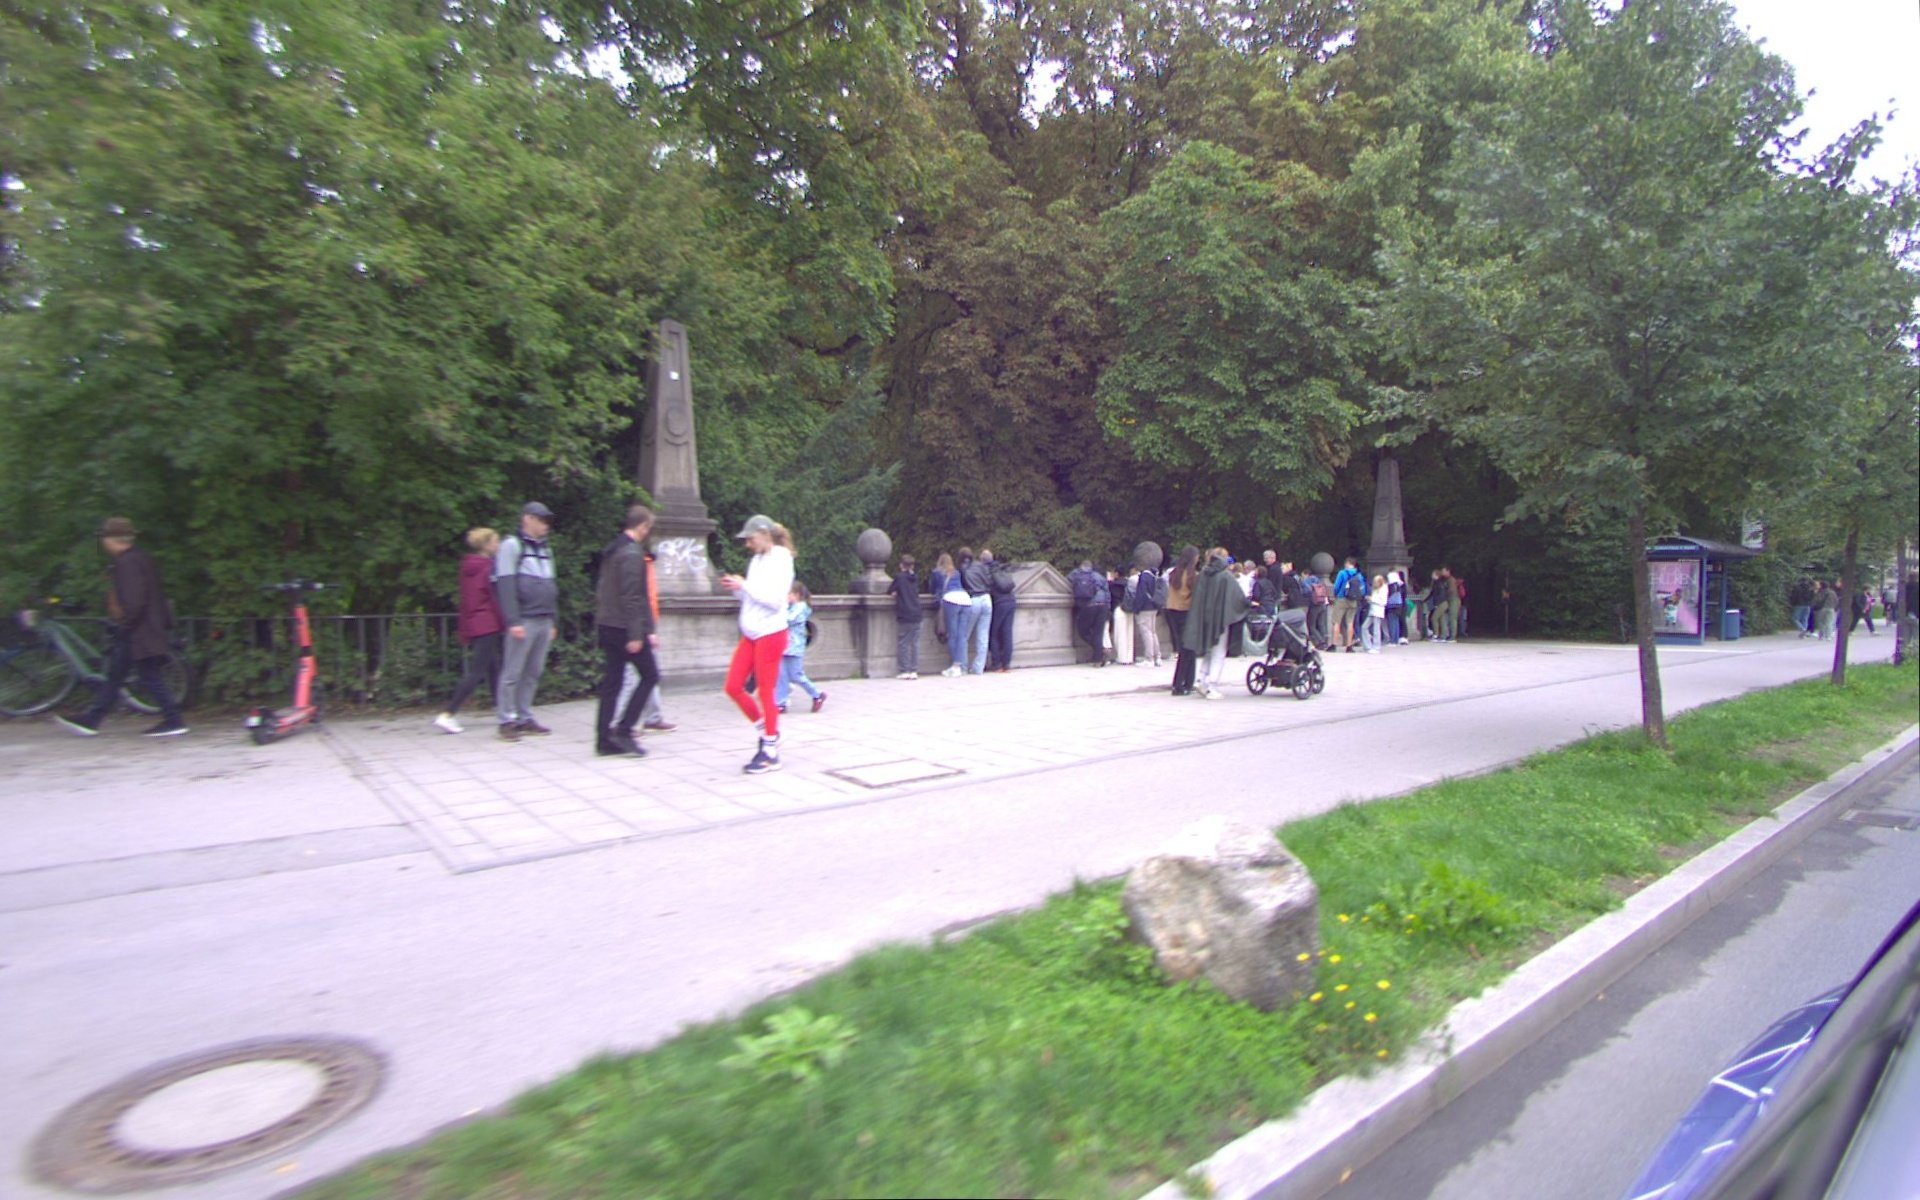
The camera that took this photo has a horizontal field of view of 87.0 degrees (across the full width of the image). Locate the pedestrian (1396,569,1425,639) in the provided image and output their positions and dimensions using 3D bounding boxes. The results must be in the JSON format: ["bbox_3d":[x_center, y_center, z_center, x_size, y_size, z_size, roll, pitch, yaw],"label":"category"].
[{"bbox_3d":[9.849,0.084,22.107,0.434,1.526,0.421,0,0,-38],"label":"pedestrian"}]

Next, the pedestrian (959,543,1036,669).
[{"bbox_3d":[0.528,0.066,14.303,0.715,1.712,0.814,0,1,-38],"label":"pedestrian"}]

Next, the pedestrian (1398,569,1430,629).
[{"bbox_3d":[13.878,-0.024,30.943,0.522,1.790,0.639,4,-1,-9],"label":"pedestrian"}]

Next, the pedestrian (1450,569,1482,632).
[{"bbox_3d":[14.602,0.016,29.214,0.522,1.790,0.639,0,0,-9],"label":"pedestrian"}]

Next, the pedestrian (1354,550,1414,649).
[{"bbox_3d":[8.173,-0.016,19.519,0.715,1.852,0.814,0,0,-38],"label":"pedestrian"}]

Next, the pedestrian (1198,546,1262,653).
[{"bbox_3d":[4.748,-0.016,17.800,0.715,1.813,0.814,0,0,-38],"label":"pedestrian"}]

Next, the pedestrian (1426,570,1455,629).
[{"bbox_3d":[14.775,-0.028,31.112,0.522,1.790,0.639,0,0,-9],"label":"pedestrian"}]

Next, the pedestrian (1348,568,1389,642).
[{"bbox_3d":[8.590,0.095,21.280,0.523,1.526,0.638,0,0,-38],"label":"pedestrian"}]

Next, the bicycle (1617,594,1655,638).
[{"bbox_3d":[16.882,0.385,25.270,1.549,1.073,0.393,0,0,-41],"label":"bicycle"}]

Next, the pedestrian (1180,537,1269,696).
[{"bbox_3d":[2.969,0.176,11.376,0.636,1.712,0.728,0,0,-35],"label":"pedestrian"}]

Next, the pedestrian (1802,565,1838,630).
[{"bbox_3d":[26.092,-0.080,30.704,0.939,1.939,0.709,0,0,-41],"label":"pedestrian"}]

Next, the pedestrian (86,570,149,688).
[{"bbox_3d":[-10.832,0.363,13.022,0.507,1.492,0.409,0,0,-18],"label":"pedestrian"}]

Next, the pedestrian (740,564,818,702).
[{"bbox_3d":[-1.827,0.318,10.203,0.636,1.343,0.459,0,0,-35],"label":"pedestrian"}]

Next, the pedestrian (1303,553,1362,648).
[{"bbox_3d":[7.211,0.009,19.594,0.715,1.790,0.814,0,0,-38],"label":"pedestrian"}]

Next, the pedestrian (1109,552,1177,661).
[{"bbox_3d":[2.962,0.092,16.424,0.715,1.712,0.814,0,0,-38],"label":"pedestrian"}]

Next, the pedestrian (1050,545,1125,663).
[{"bbox_3d":[1.926,0.037,15.321,0.715,1.711,0.814,0,2,-38],"label":"pedestrian"}]

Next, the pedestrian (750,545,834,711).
[{"bbox_3d":[-1.637,0.258,9.867,0.636,1.547,0.551,0,0,-35],"label":"pedestrian"}]

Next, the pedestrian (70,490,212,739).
[{"bbox_3d":[-6.548,0.106,8.108,0.683,1.896,0.608,0,0,15],"label":"pedestrian"}]

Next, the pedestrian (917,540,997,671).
[{"bbox_3d":[-0.050,0.054,13.782,0.715,1.711,0.814,0,2,-38],"label":"pedestrian"}]

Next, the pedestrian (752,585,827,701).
[{"bbox_3d":[-1.770,0.426,10.523,0.636,1.167,0.459,0,0,-35],"label":"pedestrian"}]

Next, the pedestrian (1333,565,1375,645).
[{"bbox_3d":[8.175,0.099,21.004,0.523,1.637,0.638,0,0,-38],"label":"pedestrian"}]

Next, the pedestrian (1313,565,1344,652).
[{"bbox_3d":[7.414,0.175,20.378,0.434,1.725,0.421,0,0,-39],"label":"pedestrian"}]

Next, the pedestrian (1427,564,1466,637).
[{"bbox_3d":[11.227,0.009,23.363,0.523,1.647,0.638,0,0,-38],"label":"pedestrian"}]

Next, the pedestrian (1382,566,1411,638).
[{"bbox_3d":[9.450,0.037,21.893,0.434,1.526,0.421,0,0,-38],"label":"pedestrian"}]

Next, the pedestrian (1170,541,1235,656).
[{"bbox_3d":[4.153,-0.029,17.338,0.715,1.898,0.814,0,0,-38],"label":"pedestrian"}]

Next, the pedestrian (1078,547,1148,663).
[{"bbox_3d":[2.411,0.068,15.969,0.715,1.761,0.814,0,0,-38],"label":"pedestrian"}]

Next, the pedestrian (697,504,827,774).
[{"bbox_3d":[-1.358,0.240,6.903,0.635,1.712,0.728,0,0,-35],"label":"pedestrian"}]

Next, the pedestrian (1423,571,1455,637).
[{"bbox_3d":[13.205,0.114,27.904,0.522,1.790,0.639,0,0,-9],"label":"pedestrian"}]

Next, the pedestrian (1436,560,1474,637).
[{"bbox_3d":[11.702,-0.030,23.929,0.523,1.790,0.638,0,0,-38],"label":"pedestrian"}]

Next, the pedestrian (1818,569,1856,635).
[{"bbox_3d":[24.602,0.052,28.384,0.627,1.831,0.709,0,0,-40],"label":"pedestrian"}]

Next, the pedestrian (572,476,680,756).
[{"bbox_3d":[-2.405,0.104,7.269,0.678,1.896,0.612,0,0,-24],"label":"pedestrian"}]

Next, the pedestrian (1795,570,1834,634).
[{"bbox_3d":[24.842,0.040,29.417,0.933,1.831,0.709,0,0,-41],"label":"pedestrian"}]

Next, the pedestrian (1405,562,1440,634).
[{"bbox_3d":[11.795,-0.051,25.791,0.523,1.790,0.638,0,0,-38],"label":"pedestrian"}]

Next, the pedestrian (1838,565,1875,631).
[{"bbox_3d":[26.897,-0.078,30.352,0.939,1.939,0.709,0,0,-41],"label":"pedestrian"}]

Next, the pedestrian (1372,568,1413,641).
[{"bbox_3d":[9.174,0.091,21.461,0.523,1.526,0.638,0,0,-38],"label":"pedestrian"}]

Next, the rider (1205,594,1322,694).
[{"bbox_3d":[3.638,0.495,12.124,1.221,1.126,0.767,0,0,-36],"label":"rider"}]

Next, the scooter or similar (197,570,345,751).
[{"bbox_3d":[-5.328,0.418,7.913,0.341,1.272,1.570,0,0,-10],"label":"scooter or similar"}]

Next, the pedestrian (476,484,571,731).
[{"bbox_3d":[-3.517,0.053,8.162,0.678,1.896,0.612,0,0,-24],"label":"pedestrian"}]

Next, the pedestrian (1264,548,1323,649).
[{"bbox_3d":[6.375,-0.041,19.357,0.715,1.875,0.814,0,0,-38],"label":"pedestrian"}]

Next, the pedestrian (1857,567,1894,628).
[{"bbox_3d":[28.679,-0.083,31.713,0.743,1.862,0.752,0,0,-39],"label":"pedestrian"}]

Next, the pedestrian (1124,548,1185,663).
[{"bbox_3d":[2.978,0.071,15.495,0.715,1.712,0.593,0,0,-38],"label":"pedestrian"}]

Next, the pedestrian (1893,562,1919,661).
[{"bbox_3d":[18.715,0.210,19.587,0.533,1.904,0.806,0,0,-4],"label":"pedestrian"}]

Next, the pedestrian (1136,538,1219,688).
[{"bbox_3d":[2.578,0.139,12.039,0.636,1.712,0.728,0,0,-35],"label":"pedestrian"}]

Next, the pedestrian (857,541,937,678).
[{"bbox_3d":[-0.826,0.110,13.202,0.715,1.712,0.814,0,0,-38],"label":"pedestrian"}]

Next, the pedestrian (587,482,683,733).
[{"bbox_3d":[-2.653,0.055,8.233,0.678,1.938,0.612,0,0,-24],"label":"pedestrian"}]

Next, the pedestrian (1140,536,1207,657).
[{"bbox_3d":[3.553,-0.063,16.869,0.715,1.941,0.814,0,0,-38],"label":"pedestrian"}]

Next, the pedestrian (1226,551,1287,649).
[{"bbox_3d":[5.330,0.001,18.208,0.661,1.712,0.814,0,0,-38],"label":"pedestrian"}]

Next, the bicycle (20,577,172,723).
[{"bbox_3d":[-7.845,0.426,9.178,1.581,1.255,0.389,0,0,23],"label":"bicycle"}]

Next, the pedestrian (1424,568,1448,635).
[{"bbox_3d":[12.467,0.039,26.504,0.434,1.725,0.421,0,0,-38],"label":"pedestrian"}]

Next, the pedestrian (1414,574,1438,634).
[{"bbox_3d":[12.081,0.100,26.221,0.434,1.526,0.421,0,0,-38],"label":"pedestrian"}]

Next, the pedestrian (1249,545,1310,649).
[{"bbox_3d":[5.879,-0.061,18.653,0.715,1.875,0.814,0,0,-38],"label":"pedestrian"}]
